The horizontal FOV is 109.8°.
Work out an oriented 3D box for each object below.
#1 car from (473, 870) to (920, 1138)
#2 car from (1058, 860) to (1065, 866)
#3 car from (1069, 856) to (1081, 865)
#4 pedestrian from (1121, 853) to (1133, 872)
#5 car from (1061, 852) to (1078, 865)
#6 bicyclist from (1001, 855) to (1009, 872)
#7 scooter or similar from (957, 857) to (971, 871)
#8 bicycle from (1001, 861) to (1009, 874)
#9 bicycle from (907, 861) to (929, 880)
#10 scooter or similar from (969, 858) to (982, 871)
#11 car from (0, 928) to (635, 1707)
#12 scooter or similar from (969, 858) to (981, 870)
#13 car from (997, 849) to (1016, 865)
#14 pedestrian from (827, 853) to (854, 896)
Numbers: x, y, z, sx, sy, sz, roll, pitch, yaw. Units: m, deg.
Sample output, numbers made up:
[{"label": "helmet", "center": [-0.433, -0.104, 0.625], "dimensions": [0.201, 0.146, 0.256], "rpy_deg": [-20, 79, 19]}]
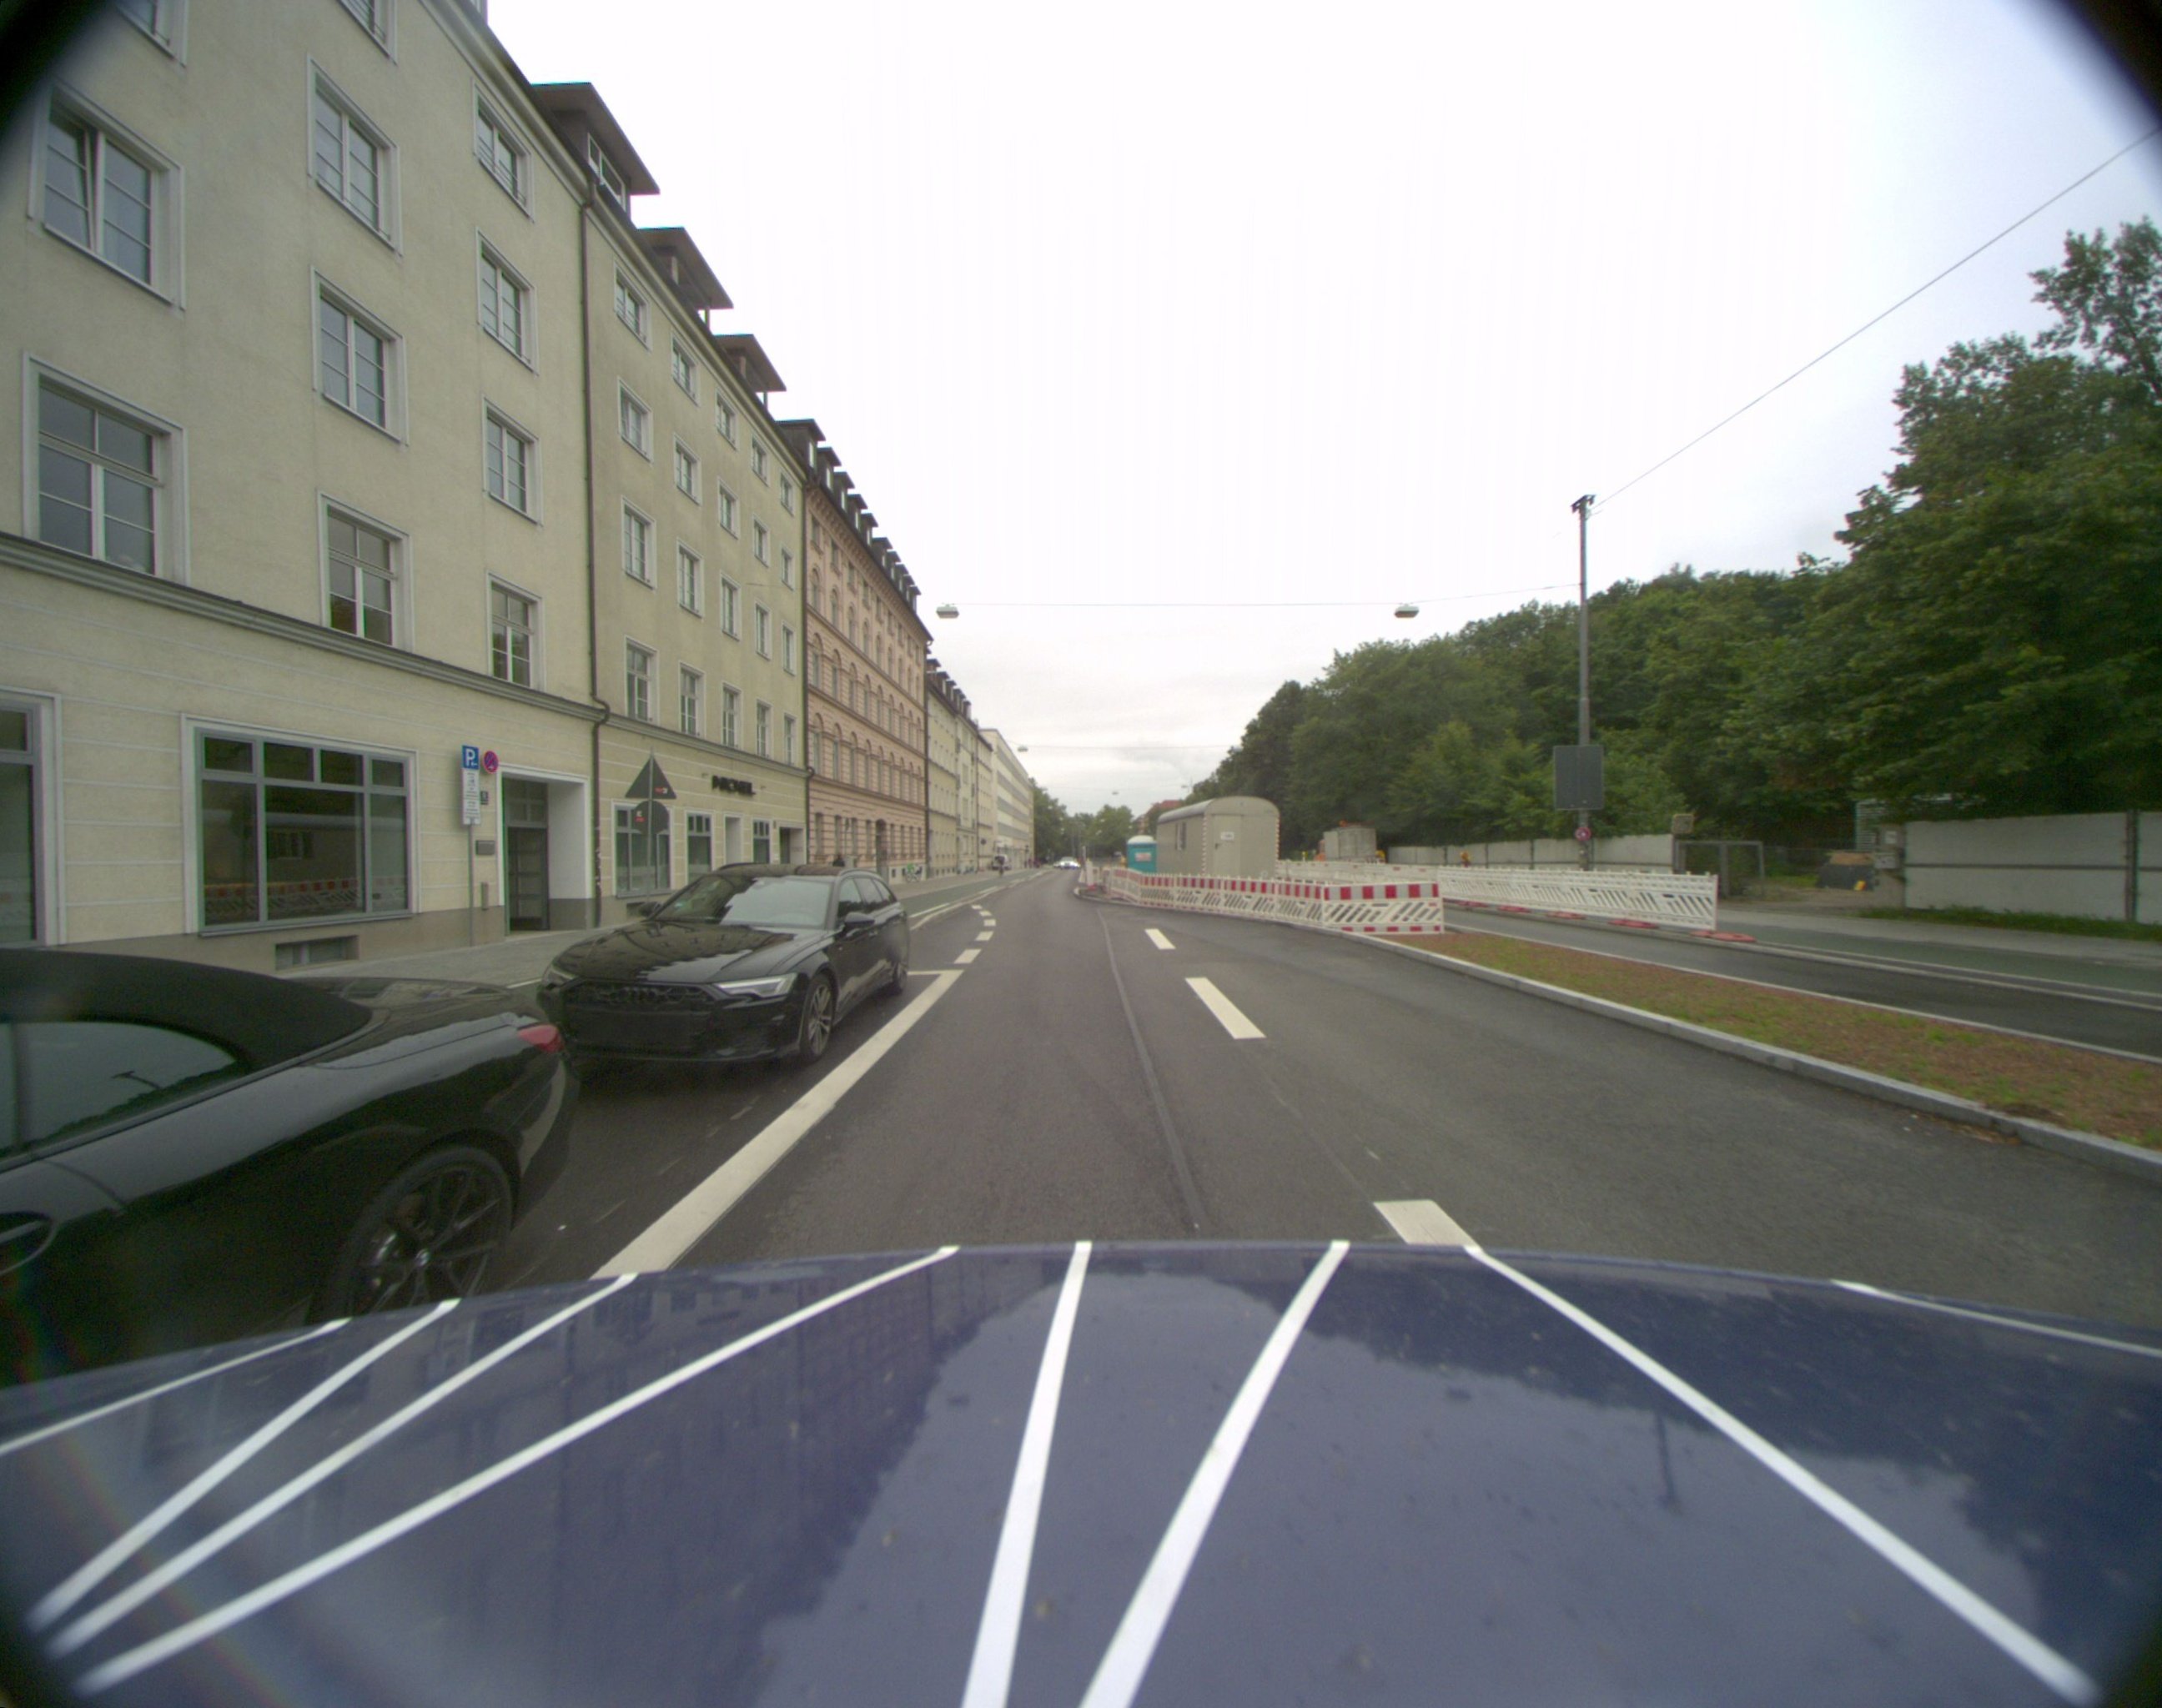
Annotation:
[{"label": "car", "center": [-2.842, 0.977, 6.924], "dimensions": [1.813, 1.472, 4.461], "rpy_deg": [3, 0, -1]}, {"label": "car", "center": [-5.662, 2.585, 219.781], "dimensions": [1.999, 1.560, 3.999], "rpy_deg": [-1, 0, 0]}, {"label": "car", "center": [-0.992, 1.019, 121.835], "dimensions": [1.759, 1.461, 3.998], "rpy_deg": [-2, 0, -3]}, {"label": "pedestrian", "center": [4.393, 0.817, 72.430], "dimensions": [0.861, 1.826, 0.873], "rpy_deg": [-1, 1, -24]}, {"label": "car", "center": [-1.353, 0.583, 92.331], "dimensions": [1.758, 1.461, 4.000], "rpy_deg": [-2, 0, 2]}, {"label": "bicyclist", "center": [-6.401, 0.802, 63.837], "dimensions": [0.632, 1.459, 0.652], "rpy_deg": [-1, 1, -6]}, {"label": "scooter or similar", "center": [-10.052, 0.865, 65.459], "dimensions": [0.552, 1.238, 1.079], "rpy_deg": [0, 1, 35]}, {"label": "bicycle", "center": [-6.396, 1.109, 63.793], "dimensions": [0.632, 1.031, 2.016], "rpy_deg": [-1, 0, -6]}, {"label": "bicycle", "center": [-10.075, 1.009, 47.023], "dimensions": [0.556, 1.170, 1.727], "rpy_deg": [0, 0, 15]}, {"label": "scooter or similar", "center": [-9.760, 0.926, 70.378], "dimensions": [1.078, 1.185, 0.453], "rpy_deg": [-1, 1, -29]}, {"label": "car", "center": [-2.847, 1.043, 0.783], "dimensions": [1.830, 1.399, 4.720], "rpy_deg": [-2, 0, 2]}, {"label": "scooter or similar", "center": [-10.022, 0.939, 71.715], "dimensions": [1.079, 1.185, 0.436], "rpy_deg": [-1, 1, -39]}, {"label": "car", "center": [-8.599, 0.356, 87.941], "dimensions": [1.766, 1.821, 4.000], "rpy_deg": [-1, 0, 0]}, {"label": "pedestrian", "center": [-9.861, 0.835, 31.124], "dimensions": [0.795, 1.735, 0.833], "rpy_deg": [-1, 1, 1]}]
